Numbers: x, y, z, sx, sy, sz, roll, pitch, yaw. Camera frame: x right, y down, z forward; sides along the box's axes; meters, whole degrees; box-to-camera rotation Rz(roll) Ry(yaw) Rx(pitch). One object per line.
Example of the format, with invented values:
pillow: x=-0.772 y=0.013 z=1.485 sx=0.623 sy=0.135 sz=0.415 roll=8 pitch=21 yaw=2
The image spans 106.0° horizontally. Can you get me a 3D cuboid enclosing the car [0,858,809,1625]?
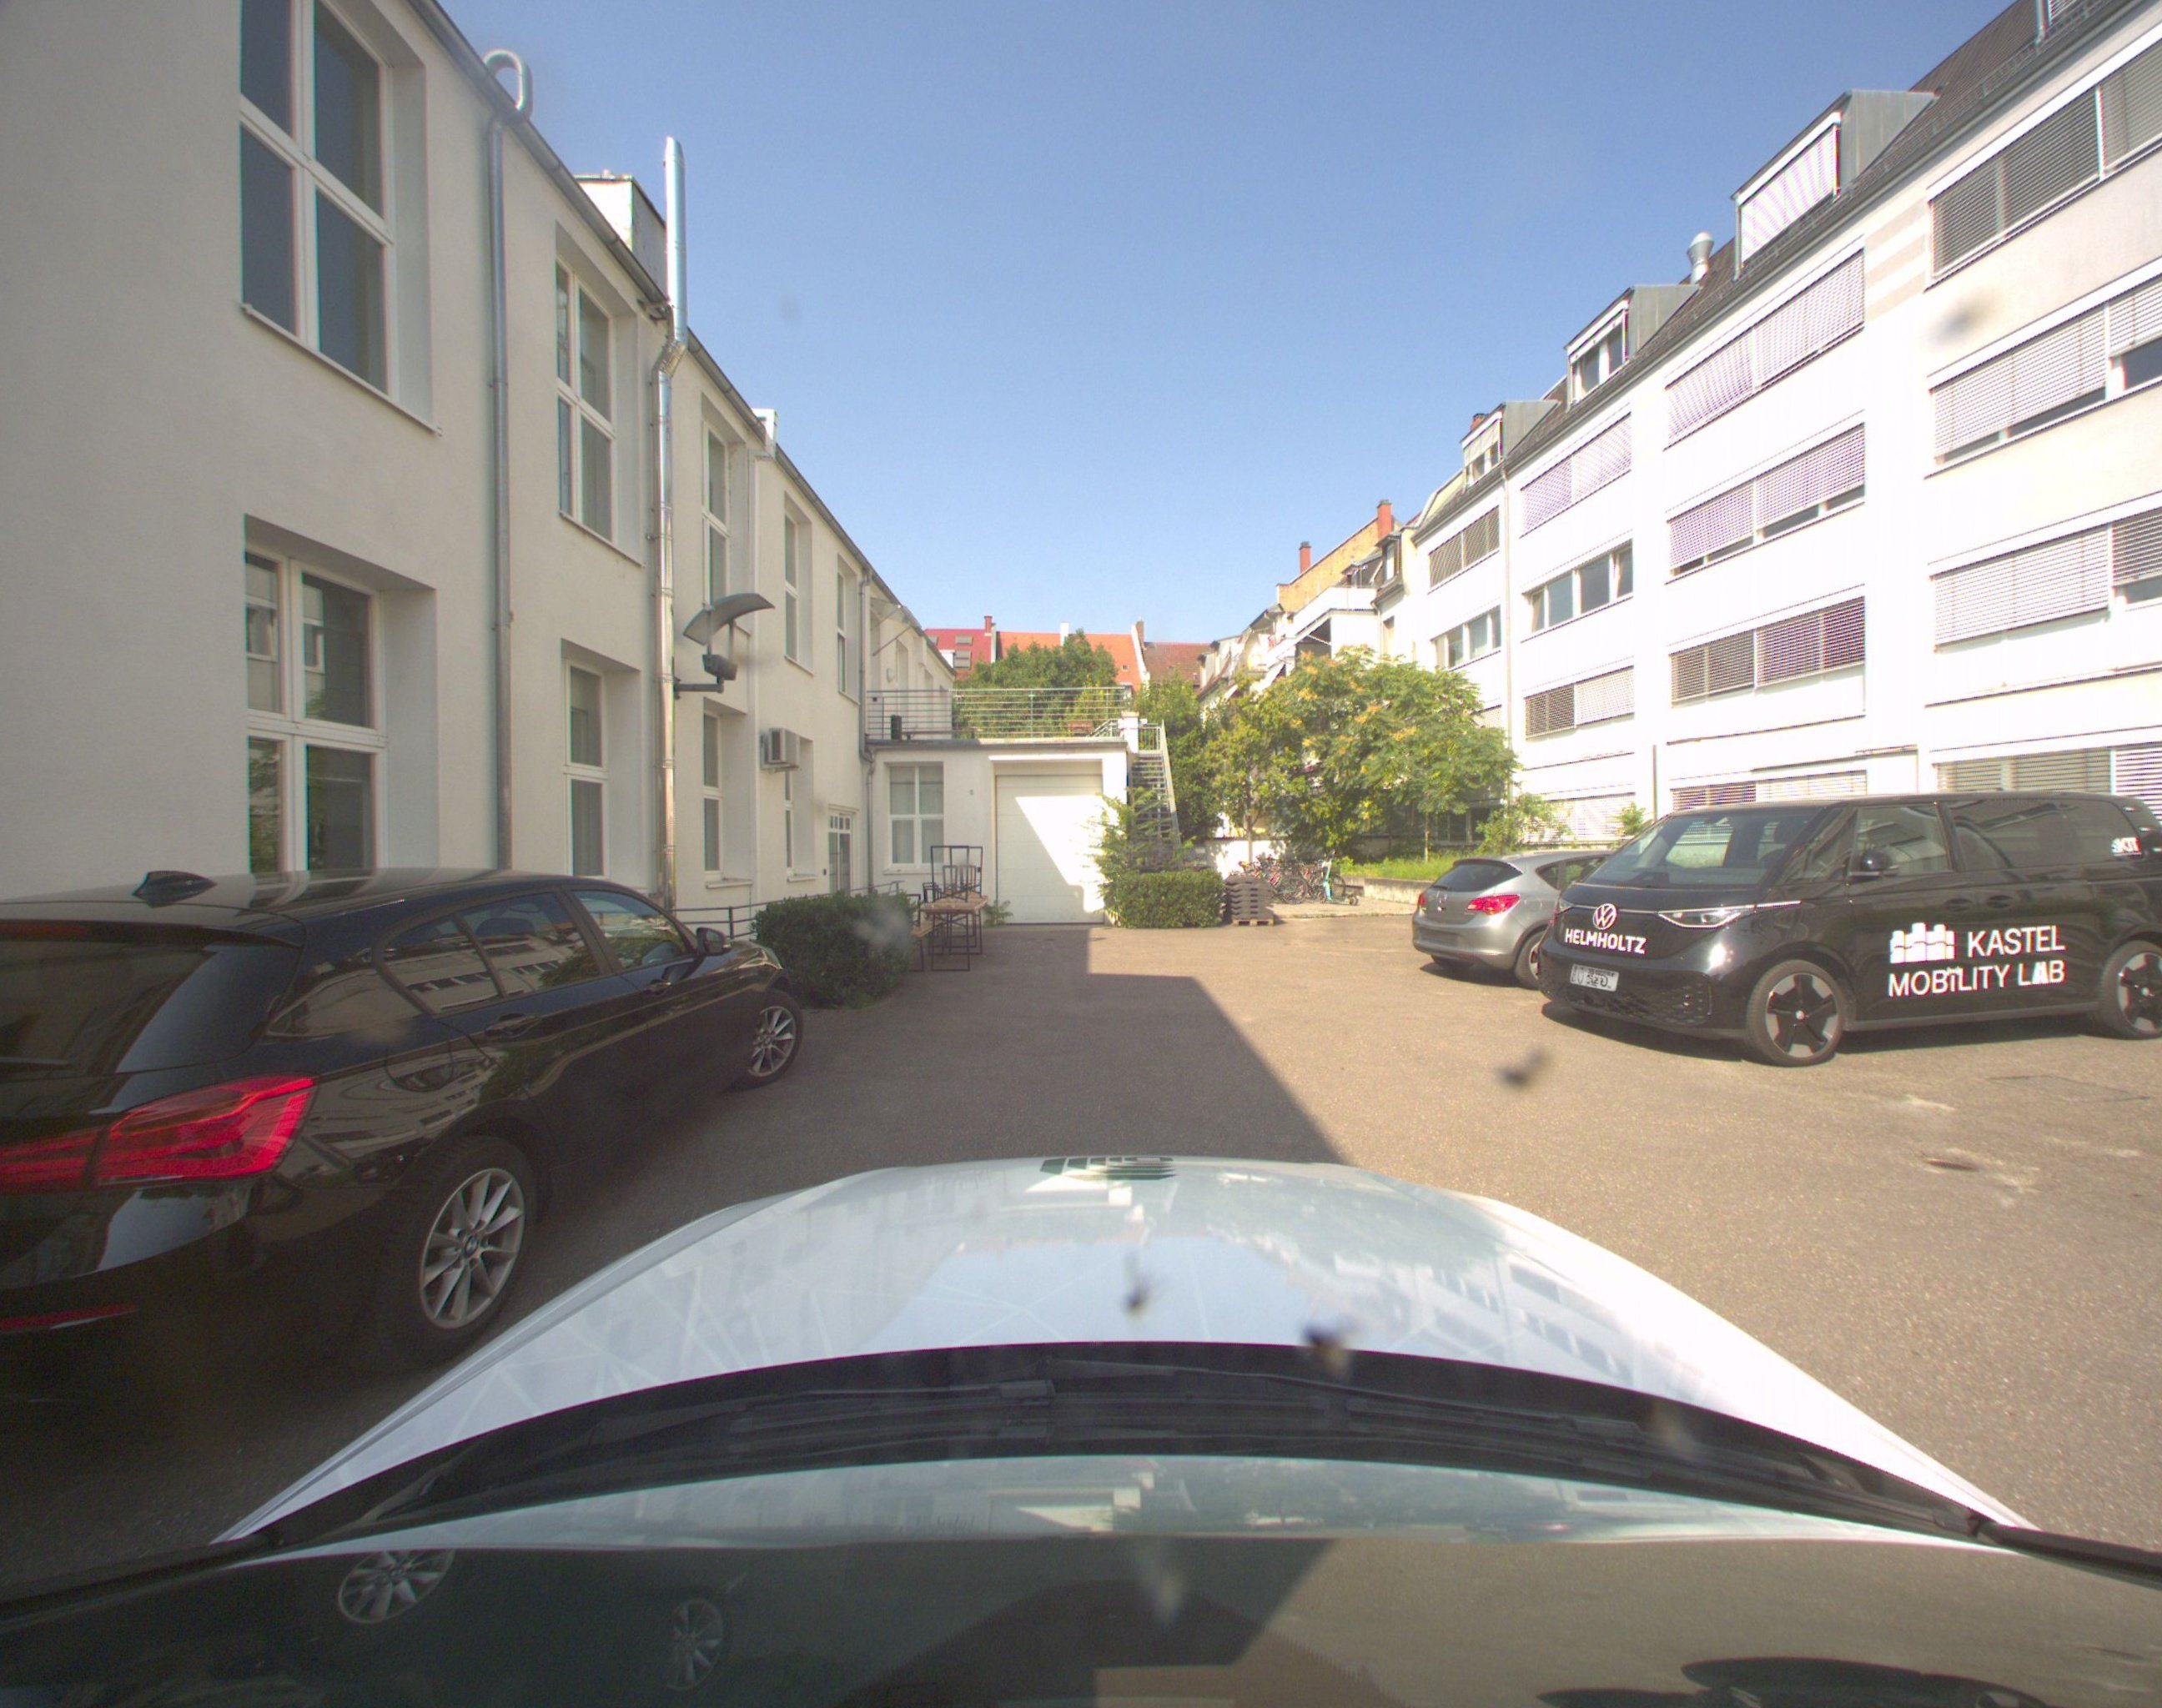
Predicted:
car: x=-2.654 y=0.756 z=3.506 sx=1.683 sy=1.459 sz=3.921 roll=0 pitch=0 yaw=-1

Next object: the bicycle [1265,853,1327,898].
bicycle: x=5.949 y=0.599 z=22.597 sx=1.612 sy=1.214 sz=0.425 roll=-2 pitch=0 yaw=13

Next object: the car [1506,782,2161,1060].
car: x=6.133 y=0.417 z=6.616 sx=4.498 sy=1.794 sz=1.877 roll=-1 pitch=-1 yaw=-9

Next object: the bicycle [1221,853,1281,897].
bicycle: x=4.898 y=0.611 z=23.542 sx=1.620 sy=1.214 sz=0.423 roll=-2 pitch=0 yaw=-5

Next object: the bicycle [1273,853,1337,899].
bicycle: x=6.036 y=0.596 z=22.020 sx=1.611 sy=1.214 sz=0.425 roll=-2 pitch=0 yaw=13

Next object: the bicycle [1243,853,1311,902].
bicycle: x=5.004 y=0.597 z=20.813 sx=1.617 sy=1.214 sz=0.327 roll=-2 pitch=0 yaw=2

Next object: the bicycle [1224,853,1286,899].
bicycle: x=4.893 y=0.608 z=22.940 sx=1.620 sy=1.214 sz=0.423 roll=-2 pitch=0 yaw=-5

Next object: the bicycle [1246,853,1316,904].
bicycle: x=4.957 y=0.595 z=20.198 sx=1.617 sy=1.214 sz=0.327 roll=-2 pitch=0 yaw=2

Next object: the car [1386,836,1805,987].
car: x=5.849 y=0.592 z=9.502 sx=3.930 sy=1.482 sz=1.769 roll=-1 pitch=-1 yaw=-9

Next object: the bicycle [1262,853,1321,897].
bicycle: x=6.108 y=0.602 z=23.622 sx=1.612 sy=1.214 sz=0.425 roll=-2 pitch=0 yaw=13

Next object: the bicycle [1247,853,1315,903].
bicycle: x=5.028 y=0.596 z=20.519 sx=1.617 sy=1.214 sz=0.327 roll=-2 pitch=0 yaw=2

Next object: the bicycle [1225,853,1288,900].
bicycle: x=4.799 y=0.606 z=22.306 sx=1.618 sy=1.214 sz=0.424 roll=-2 pitch=0 yaw=0

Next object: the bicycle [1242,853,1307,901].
bicycle: x=5.047 y=0.599 z=21.263 sx=1.613 sy=1.214 sz=0.328 roll=-2 pitch=0 yaw=10

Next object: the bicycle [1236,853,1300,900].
bicycle: x=4.975 y=0.601 z=21.628 sx=1.611 sy=1.214 sz=0.328 roll=-2 pitch=0 yaw=13

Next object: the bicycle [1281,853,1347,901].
bicycle: x=6.046 y=0.591 z=21.159 sx=1.611 sy=1.214 sz=0.328 roll=-2 pitch=0 yaw=15

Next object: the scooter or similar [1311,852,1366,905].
scooter or similar: x=6.281 y=0.590 z=19.947 sx=0.381 sy=1.261 sz=1.335 roll=-2 pitch=0 yaw=-31
